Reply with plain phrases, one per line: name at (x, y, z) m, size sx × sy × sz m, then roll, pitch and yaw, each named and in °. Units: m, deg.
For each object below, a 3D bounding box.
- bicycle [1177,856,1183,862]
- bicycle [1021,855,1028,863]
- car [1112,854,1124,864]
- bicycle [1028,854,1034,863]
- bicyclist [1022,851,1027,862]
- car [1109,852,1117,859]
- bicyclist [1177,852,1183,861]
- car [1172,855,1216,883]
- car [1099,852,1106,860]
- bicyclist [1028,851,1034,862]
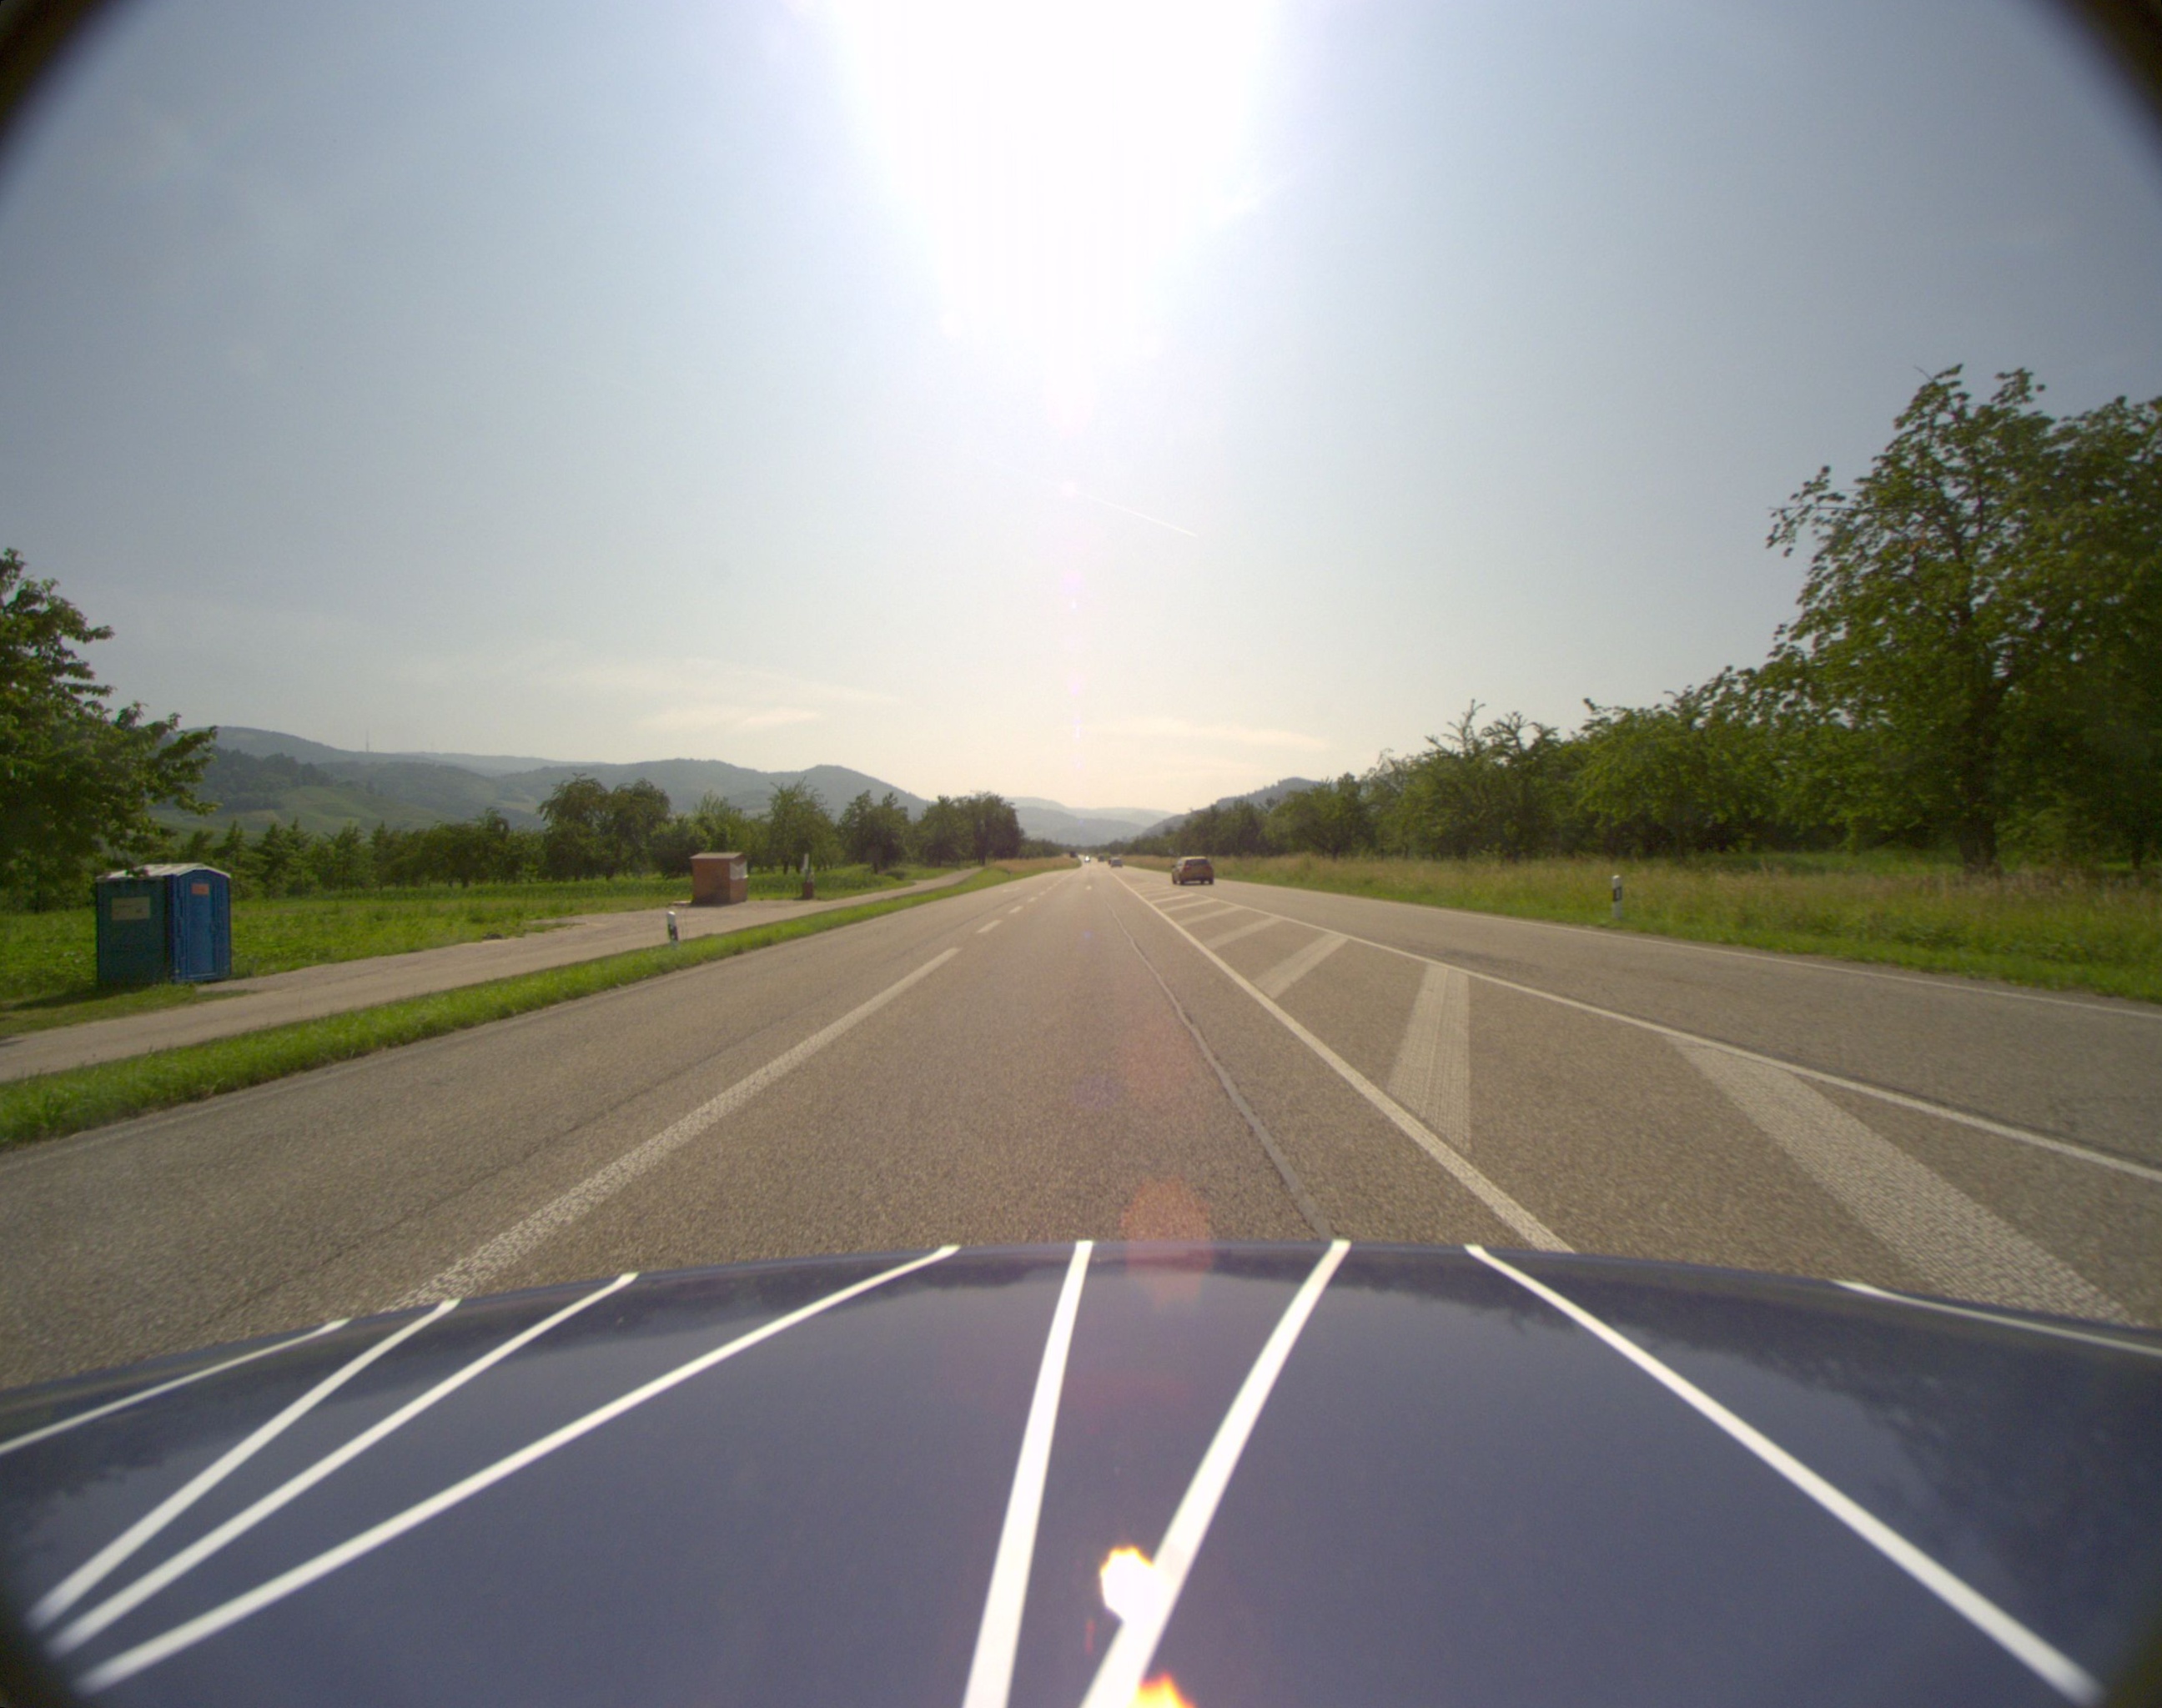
bicycle at (16.379, 0.811, 125.633) m, size 0.742 × 0.984 × 2.225 m, roll -2°, pitch 1°, yaw 2°
bicycle at (-9.227, 0.808, 124.382) m, size 0.751 × 1.410 × 2.222 m, roll 0°, pitch 0°, yaw 5°
car at (5.915, 0.844, 122.662) m, size 1.679 × 1.485 × 4.137 m, roll -2°, pitch 0°, yaw 0°
bicycle at (-8.163, 0.782, 124.328) m, size 0.751 × 1.410 × 2.222 m, roll 0°, pitch 0°, yaw 5°
bicyclist at (-9.228, 0.418, 124.370) m, size 0.751 × 1.918 × 0.828 m, roll 0°, pitch 0°, yaw 5°
car at (7.384, 0.326, 175.064) m, size 1.629 × 1.448 × 3.621 m, roll -2°, pitch 0°, yaw 0°
bicyclist at (16.367, 0.427, 125.624) m, size 0.742 × 1.446 × 0.863 m, roll -2°, pitch 2°, yaw 2°
car at (6.025, 0.786, 40.954) m, size 1.702 × 1.408 × 3.824 m, roll -2°, pitch 0°, yaw -1°
car at (7.136, 0.712, 252.154) m, size 2.166 × 2.653 × 6.142 m, roll -2°, pitch 1°, yaw 0°
bicyclist at (-8.171, 0.437, 124.307) m, size 0.751 × 1.856 × 0.869 m, roll 0°, pitch 0°, yaw 5°
